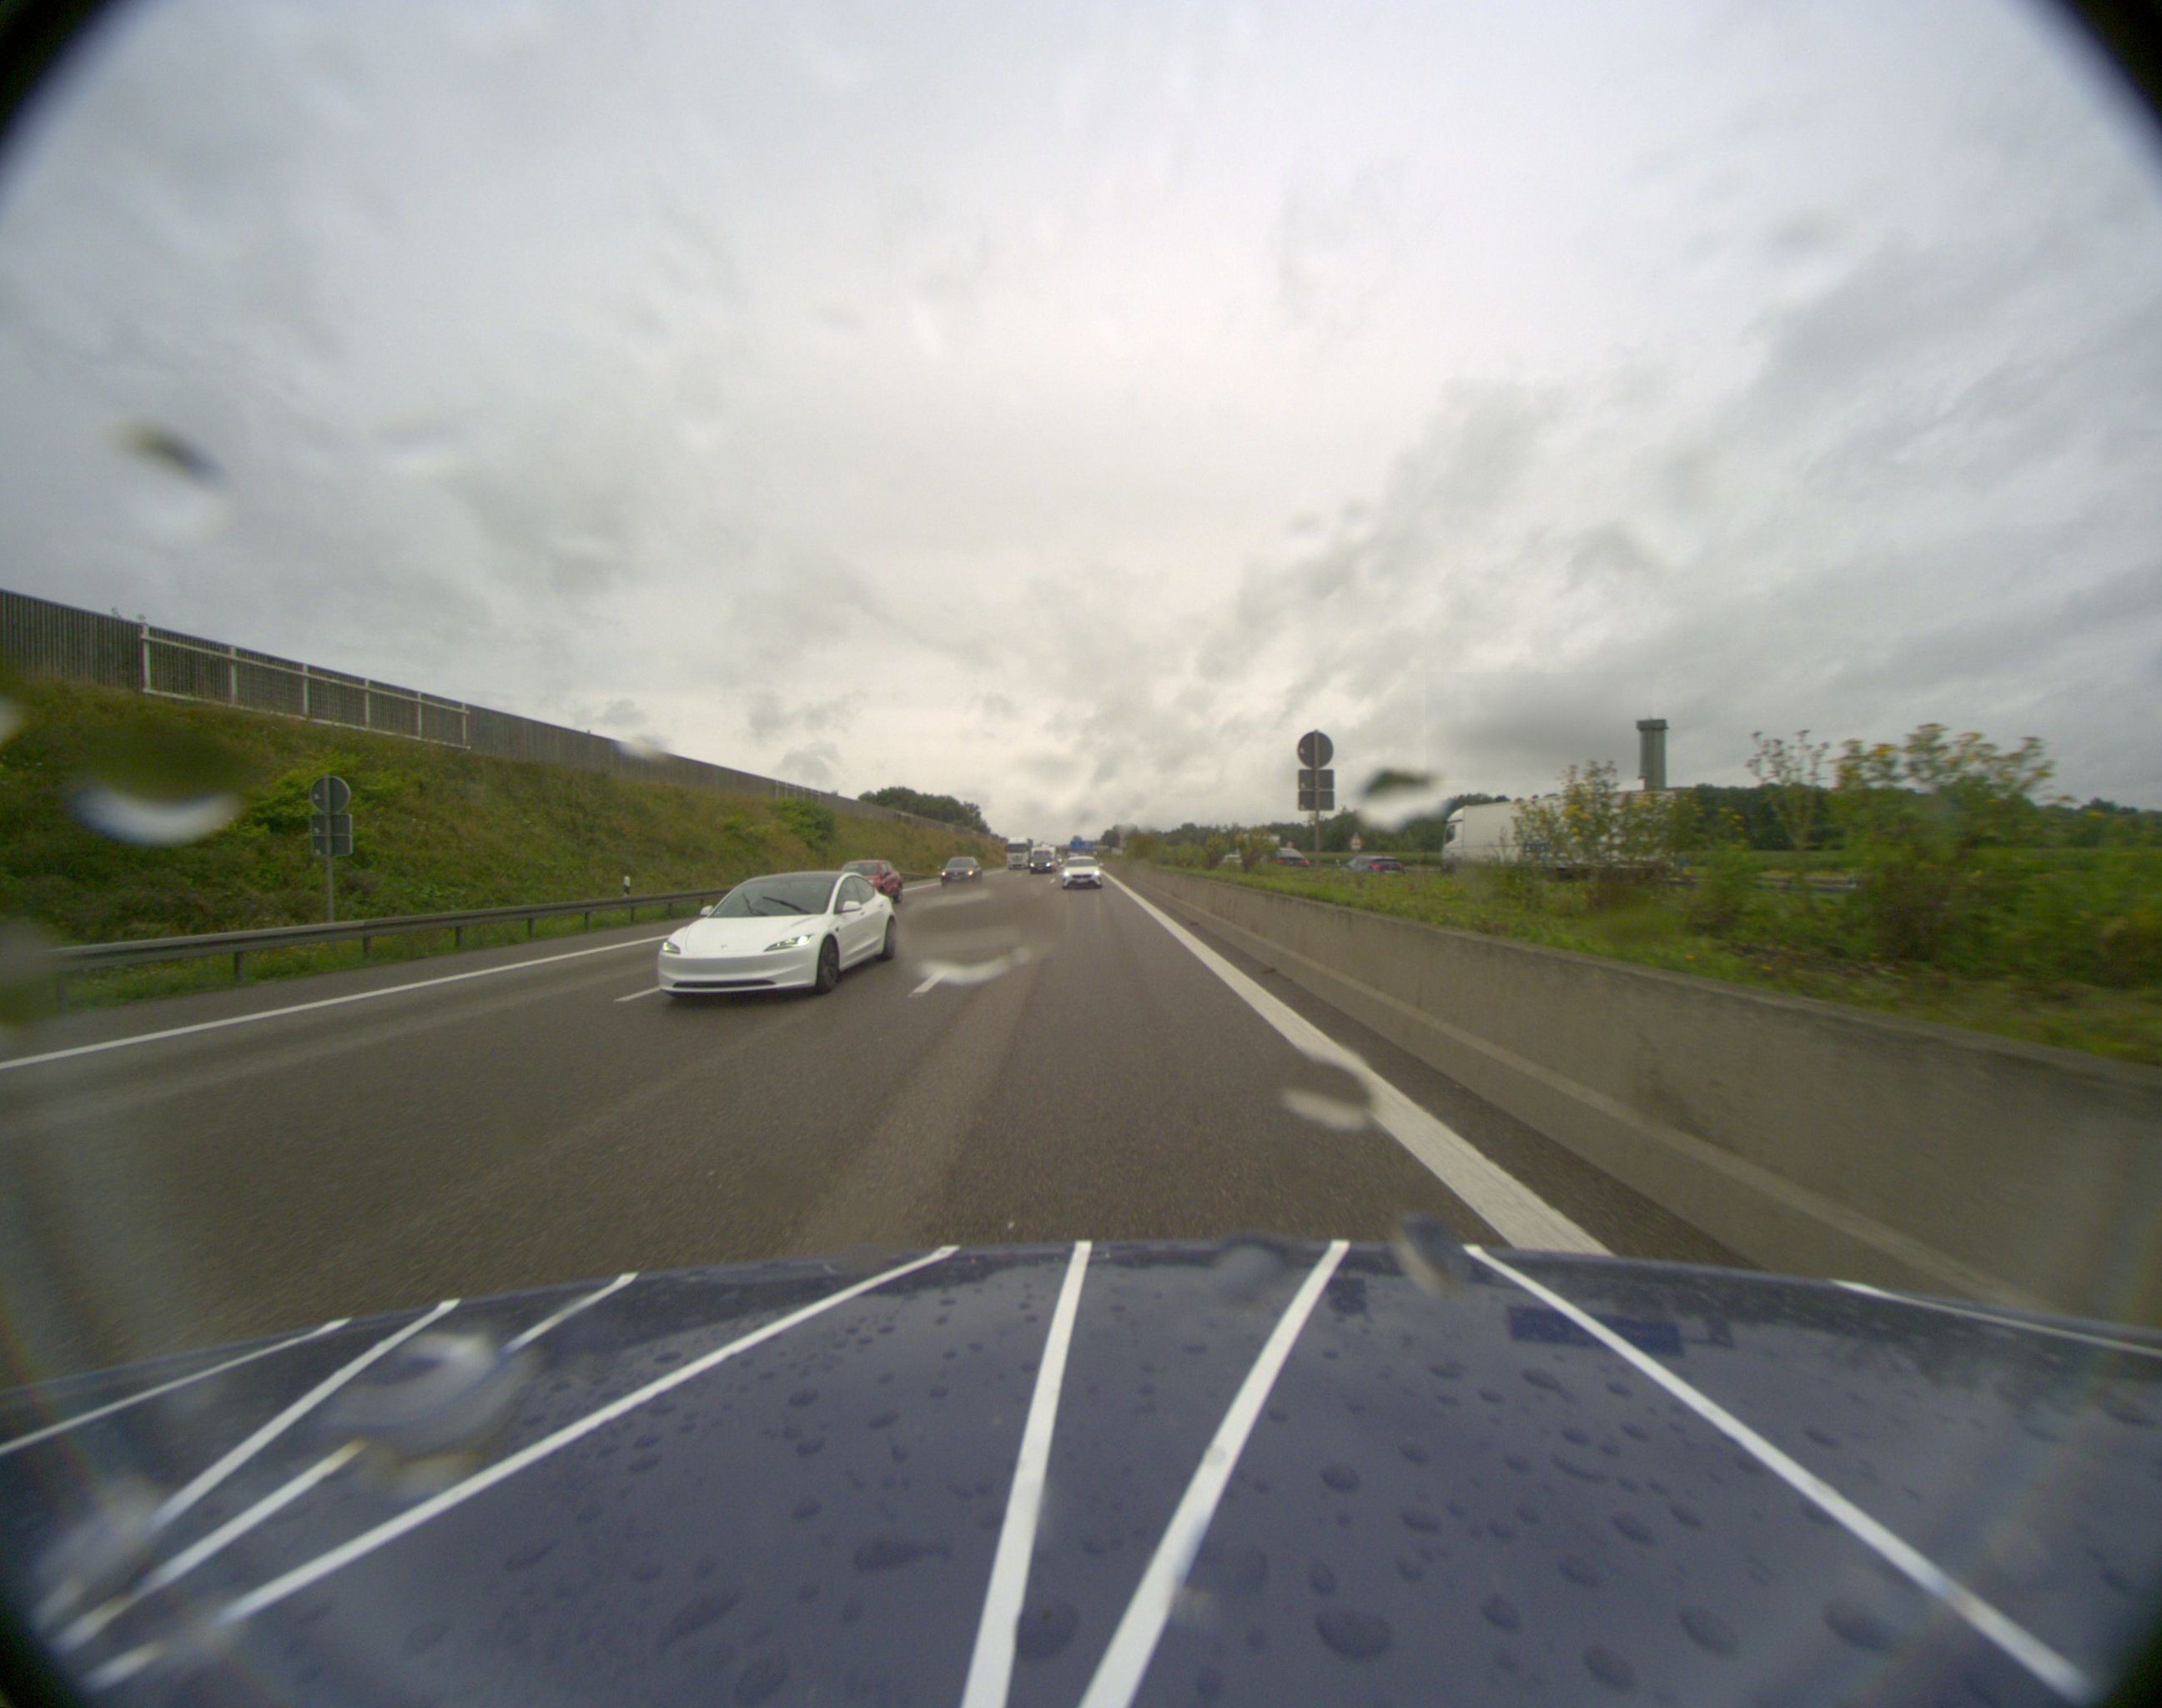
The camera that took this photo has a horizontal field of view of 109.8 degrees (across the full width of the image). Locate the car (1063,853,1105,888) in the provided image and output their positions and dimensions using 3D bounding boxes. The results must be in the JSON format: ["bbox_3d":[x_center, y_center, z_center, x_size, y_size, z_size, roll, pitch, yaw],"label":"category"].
[{"bbox_3d":[0.178,0.740,36.085,1.840,1.455,4.000,-2,1,1],"label":"car"}]

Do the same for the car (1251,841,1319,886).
[{"bbox_3d":[9.631,0.413,36.271,1.998,2.002,4.835,0,0,1],"label":"car"}]

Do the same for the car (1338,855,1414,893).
[{"bbox_3d":[13.036,0.835,33.889,1.872,1.587,4.000,0,0,0],"label":"car"}]

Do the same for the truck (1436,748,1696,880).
[{"bbox_3d":[17.450,-1.301,28.783,3.191,3.944,10.810,-2,1,2],"label":"truck"}]

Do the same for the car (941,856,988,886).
[{"bbox_3d":[-6.565,0.938,43.458,1.929,1.480,4.485,-2,1,0],"label":"car"}]

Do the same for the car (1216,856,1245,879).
[{"bbox_3d":[13.242,1.170,67.438,1.758,1.894,4.096,-2,0,0],"label":"car"}]

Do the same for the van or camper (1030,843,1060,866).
[{"bbox_3d":[-3.432,0.014,74.783,2.432,2.139,6.498,-2,1,1],"label":"van or camper"}]

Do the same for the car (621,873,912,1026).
[{"bbox_3d":[-3.839,1.068,10.398,1.878,1.355,4.812,-2,1,1],"label":"car"}]

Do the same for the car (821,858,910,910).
[{"bbox_3d":[-7.367,0.991,26.400,1.878,1.526,3.999,-2,1,0],"label":"car"}]

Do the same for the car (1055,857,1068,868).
[{"bbox_3d":[-3.099,1.330,120.260,1.999,1.759,3.999,0,0,-1],"label":"car"}]

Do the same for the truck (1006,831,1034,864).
[{"bbox_3d":[-7.794,-0.847,97.518,3.090,4.003,6.954,-2,1,-2],"label":"truck"}]

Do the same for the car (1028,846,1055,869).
[{"bbox_3d":[-3.555,0.285,69.348,1.998,2.002,4.937,-2,1,1],"label":"car"}]

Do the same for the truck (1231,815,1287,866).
[{"bbox_3d":[17.530,-1.315,75.594,3.233,4.623,9.672,-2,1,0],"label":"truck"}]
